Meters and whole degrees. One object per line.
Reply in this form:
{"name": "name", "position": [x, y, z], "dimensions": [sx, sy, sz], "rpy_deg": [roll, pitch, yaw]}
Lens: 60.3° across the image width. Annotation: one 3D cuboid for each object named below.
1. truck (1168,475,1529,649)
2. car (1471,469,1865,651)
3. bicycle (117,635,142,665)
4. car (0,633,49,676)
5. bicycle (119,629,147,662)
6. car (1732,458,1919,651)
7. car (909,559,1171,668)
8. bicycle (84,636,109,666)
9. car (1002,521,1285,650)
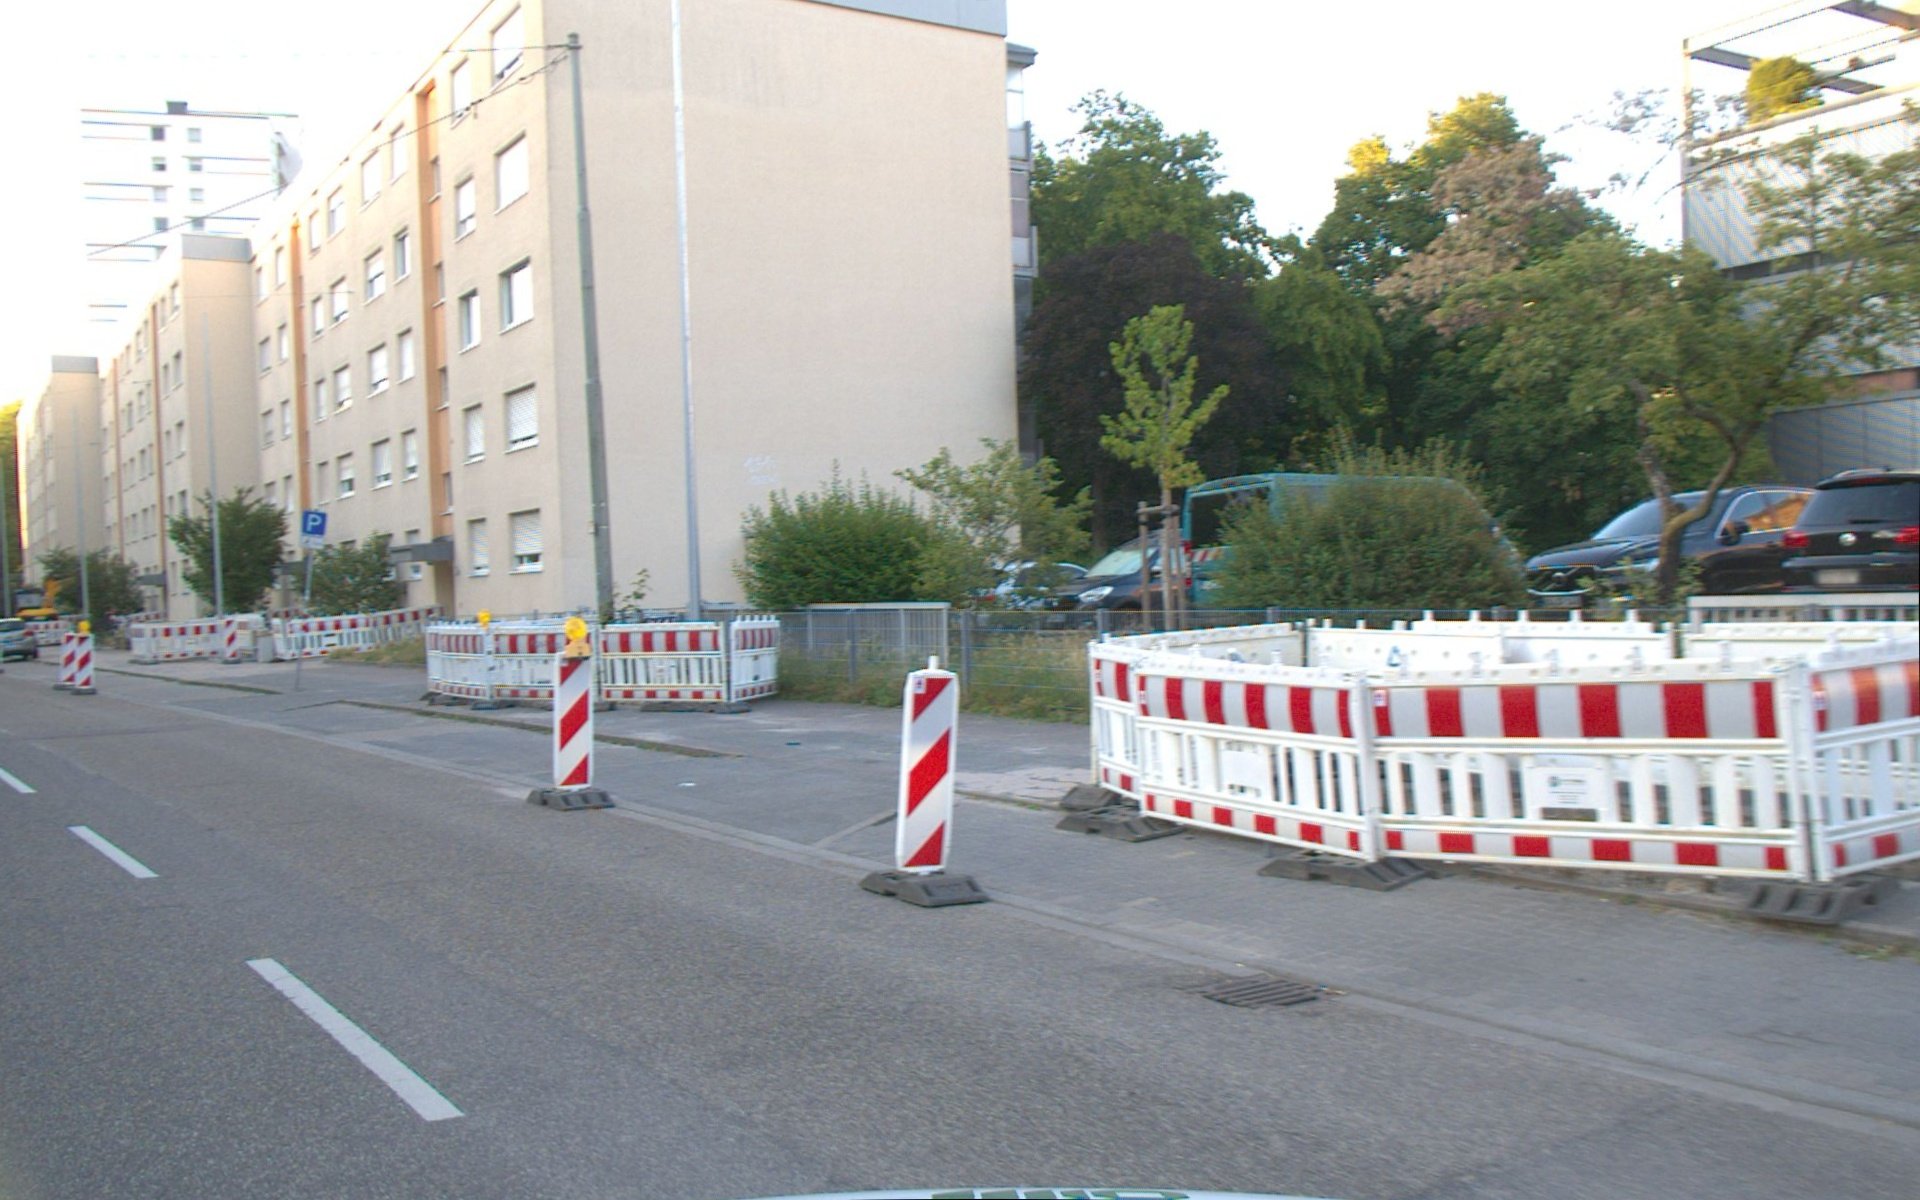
{"name": "truck", "position": [5.231, -0.539, 22.194], "dimensions": [4.449, 2.127, 2.092], "rpy_deg": [-2, 0, -29]}
{"name": "car", "position": [7.776, -0.464, 18.058], "dimensions": [4.250, 1.757, 1.976], "rpy_deg": [-3, 1, -34]}
{"name": "bicycle", "position": [-32.881, 1.964, 65.470], "dimensions": [0.611, 1.126, 2.208], "rpy_deg": [-2, 0, -34]}
{"name": "car", "position": [-33.814, 1.925, 59.054], "dimensions": [1.766, 1.414, 3.949], "rpy_deg": [-2, 1, -36]}
{"name": "bicycle", "position": [-30.113, 1.648, 60.208], "dimensions": [0.611, 1.126, 2.208], "rpy_deg": [-2, 0, -34]}
{"name": "car", "position": [9.776, -0.478, 16.534], "dimensions": [3.953, 1.721, 1.976], "rpy_deg": [-3, 1, -34]}
{"name": "car", "position": [1.422, 0.201, 28.811], "dimensions": [4.174, 1.676, 1.978], "rpy_deg": [-2, 1, -33]}
{"name": "bicycle", "position": [-33.832, 1.987, 64.823], "dimensions": [0.611, 1.126, 2.208], "rpy_deg": [-2, 0, -34]}
{"name": "car", "position": [2.959, -0.257, 26.403], "dimensions": [4.174, 1.858, 1.978], "rpy_deg": [-2, 1, -33]}
